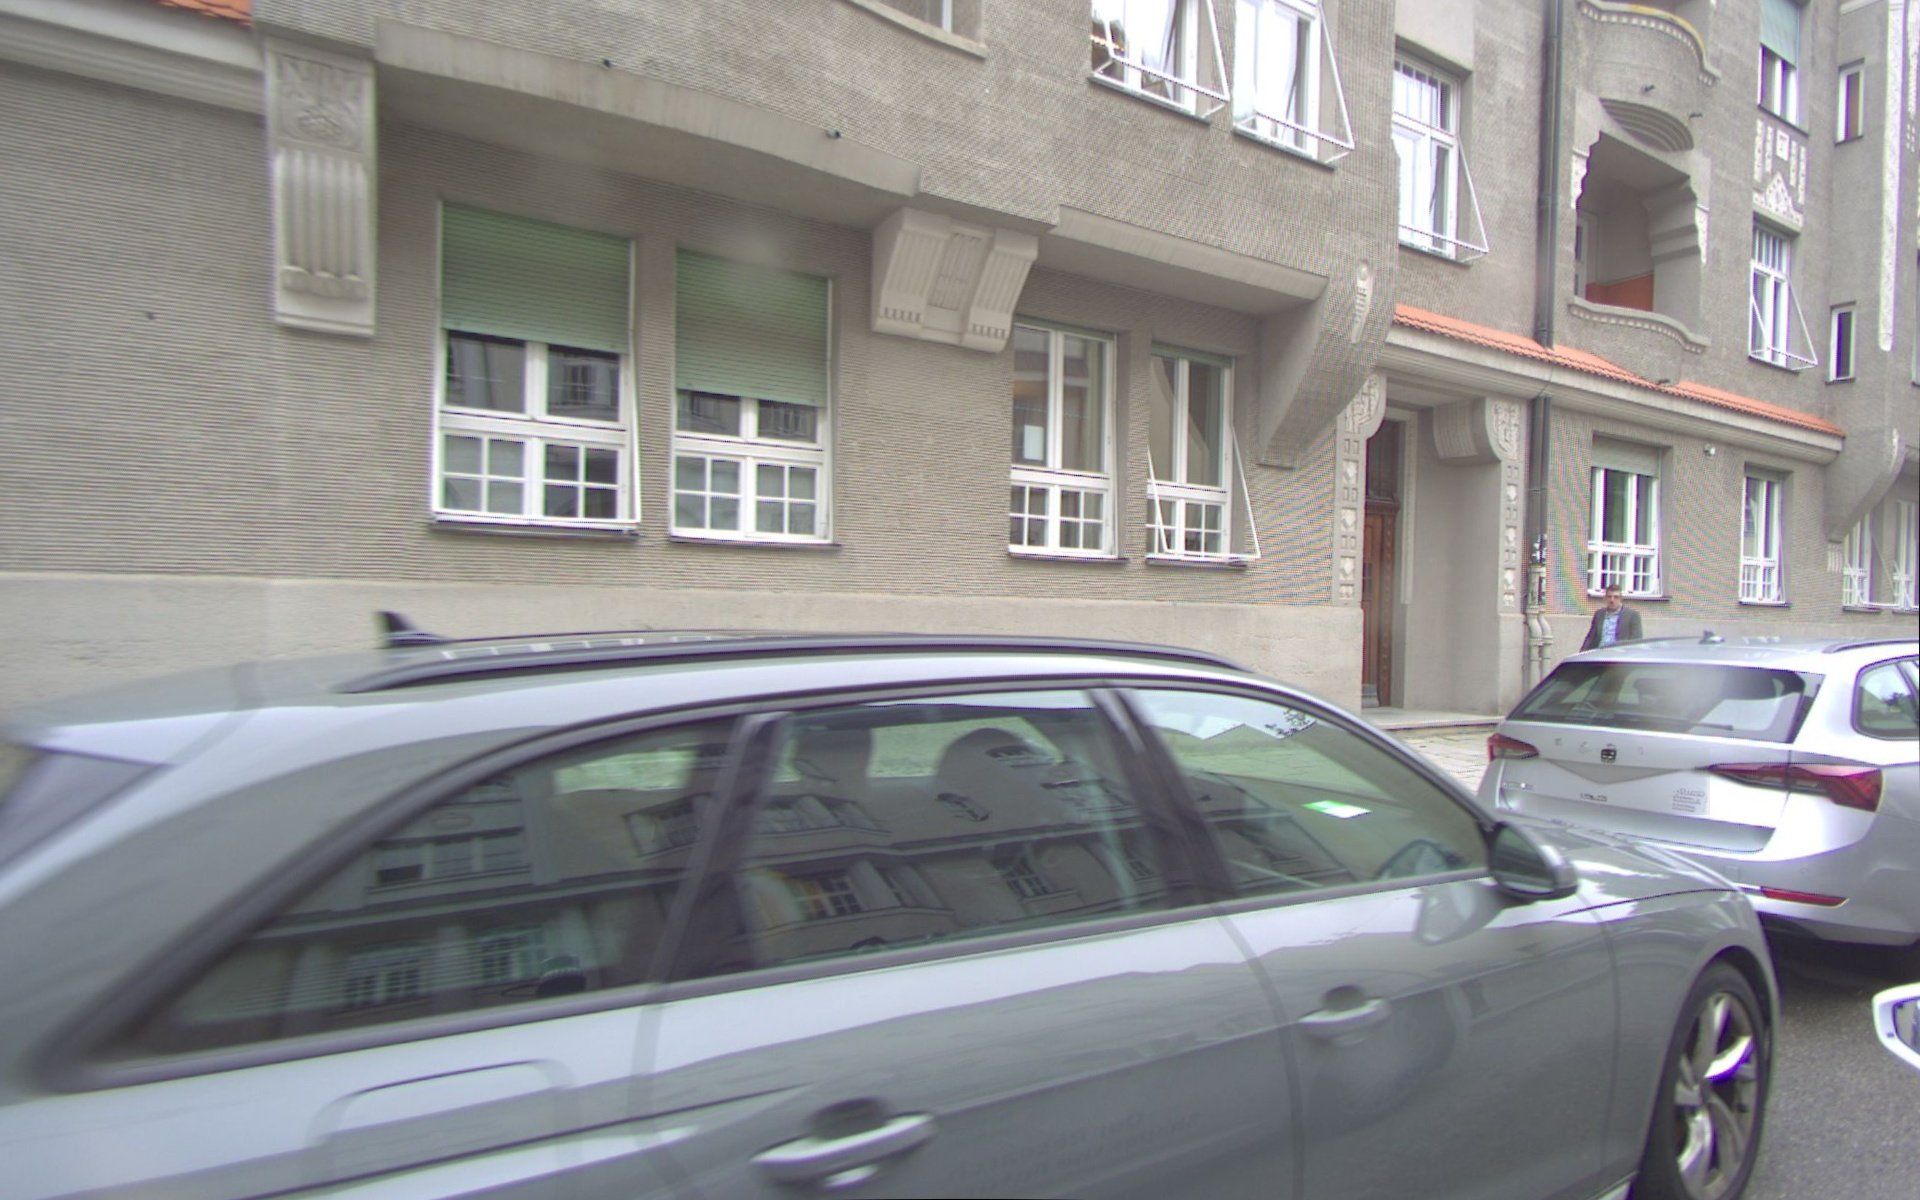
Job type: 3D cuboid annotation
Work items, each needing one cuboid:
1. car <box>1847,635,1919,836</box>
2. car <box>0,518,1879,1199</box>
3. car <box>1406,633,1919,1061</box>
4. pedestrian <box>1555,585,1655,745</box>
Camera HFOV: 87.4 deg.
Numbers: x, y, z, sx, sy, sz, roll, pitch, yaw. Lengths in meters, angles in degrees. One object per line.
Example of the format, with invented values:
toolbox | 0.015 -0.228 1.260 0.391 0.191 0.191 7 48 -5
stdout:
car | 9.397 1.075 8.182 4.726 1.467 1.983 2 -1 -32
car | 0.168 0.746 2.405 4.556 1.533 1.827 2 -1 -32
car | 4.580 0.929 5.329 4.385 1.450 1.798 2 -2 -29
pedestrian | 7.729 0.757 12.049 0.722 1.841 0.713 2 0 -31
